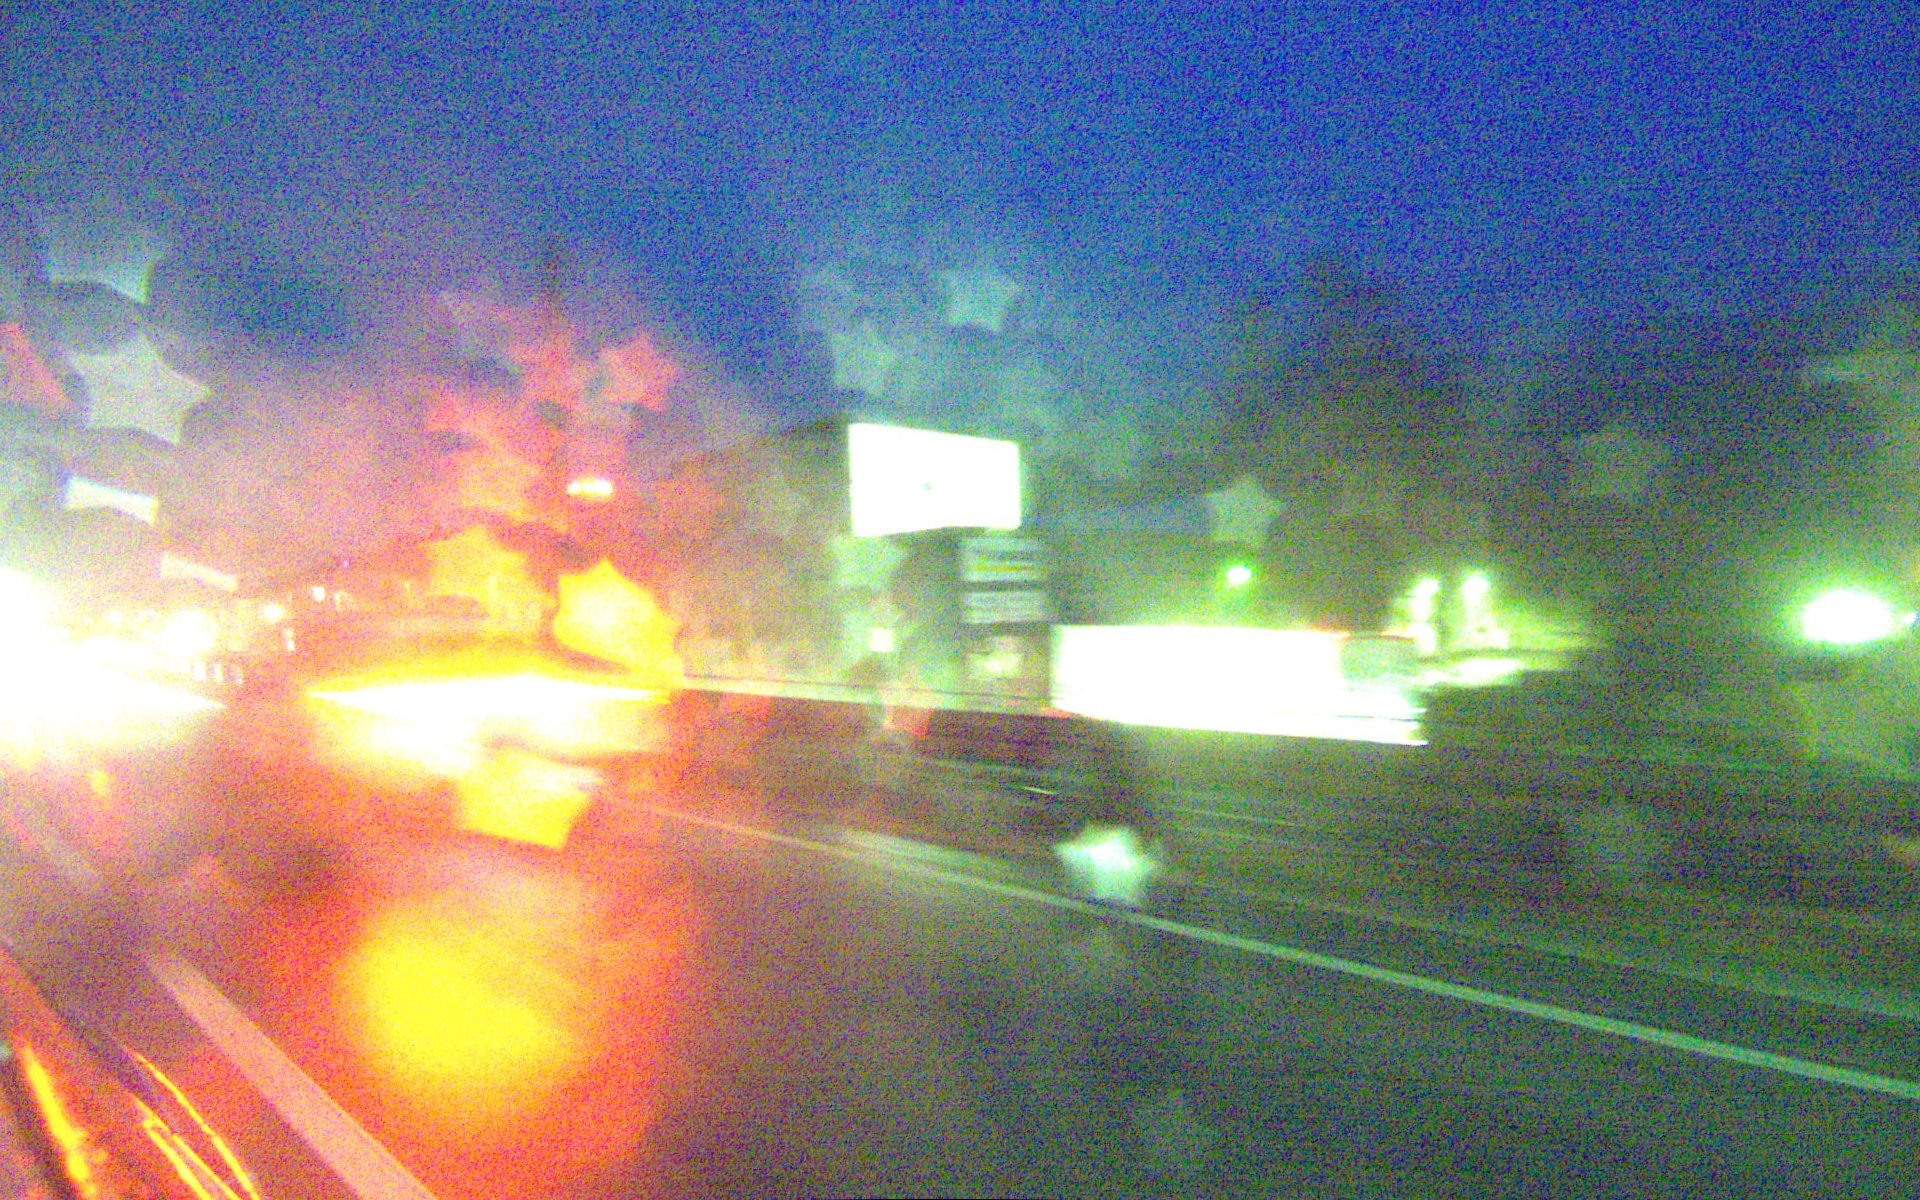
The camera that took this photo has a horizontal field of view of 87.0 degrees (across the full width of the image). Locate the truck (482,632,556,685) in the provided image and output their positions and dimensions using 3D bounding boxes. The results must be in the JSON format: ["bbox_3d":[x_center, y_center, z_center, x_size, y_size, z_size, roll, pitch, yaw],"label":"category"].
[{"bbox_3d":[-32.107,4.148,73.504,2.721,3.509,8.118,0,-1,-40],"label":"truck"}]

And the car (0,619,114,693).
[{"bbox_3d":[-20.364,1.189,22.627,3.679,1.490,1.766,-1,-1,42],"label":"car"}]

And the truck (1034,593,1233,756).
[{"bbox_3d":[5.580,2.252,34.109,3.280,4.832,7.343,0,-1,-21],"label":"truck"}]

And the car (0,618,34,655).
[{"bbox_3d":[-41.523,1.559,44.117,1.617,1.531,3.774,2,-2,-43],"label":"car"}]

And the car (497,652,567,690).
[{"bbox_3d":[-22.019,3.618,51.993,4.293,1.688,1.788,-1,-1,44],"label":"car"}]

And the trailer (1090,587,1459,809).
[{"bbox_3d":[7.839,2.188,28.105,3.280,4.832,11.593,0,0,-21],"label":"trailer"}]

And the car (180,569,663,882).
[{"bbox_3d":[-4.198,0.700,7.550,4.290,1.688,1.789,-1,-1,41],"label":"car"}]
